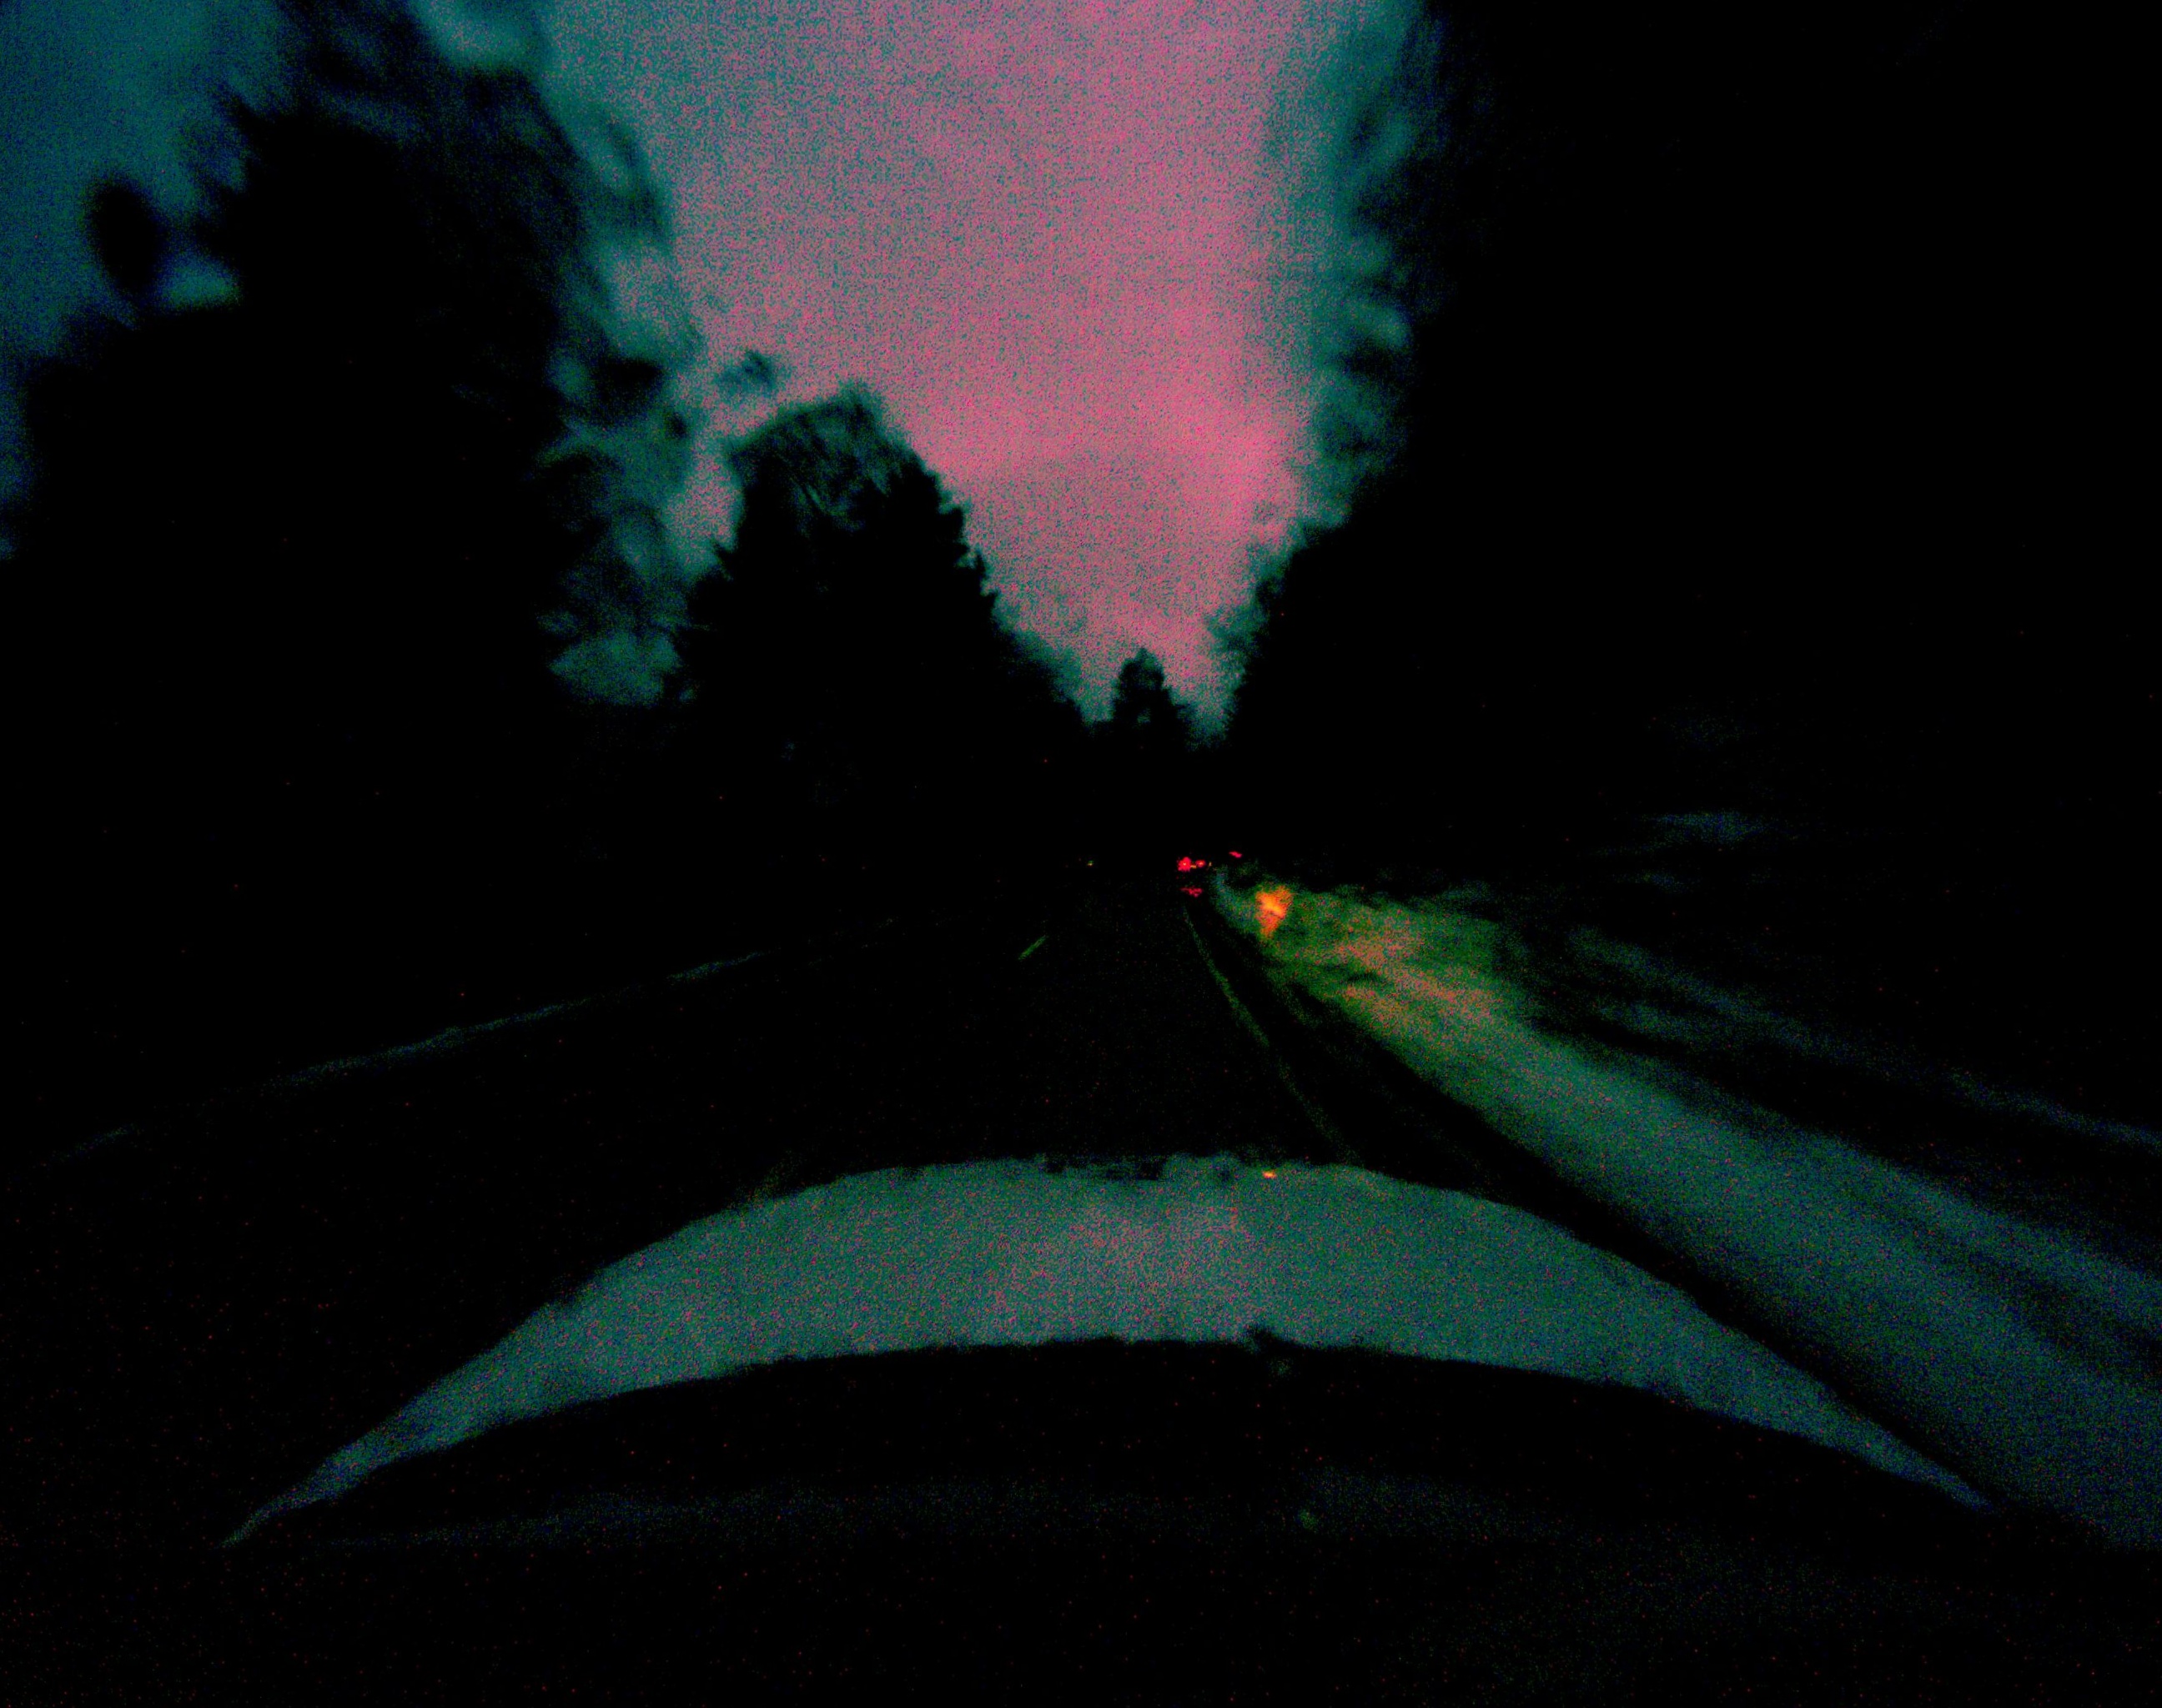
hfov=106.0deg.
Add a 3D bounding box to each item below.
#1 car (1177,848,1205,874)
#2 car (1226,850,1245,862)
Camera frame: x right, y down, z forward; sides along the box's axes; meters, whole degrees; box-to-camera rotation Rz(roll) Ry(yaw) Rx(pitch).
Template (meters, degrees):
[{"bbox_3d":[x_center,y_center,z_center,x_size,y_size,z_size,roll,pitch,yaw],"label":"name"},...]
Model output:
[{"bbox_3d":[8.602,0.508,64.099,1.984,1.872,4.006,-3,0,6],"label":"car"},{"bbox_3d":[18.343,0.177,96.839,1.982,1.310,4.010,-3,0,8],"label":"car"}]
